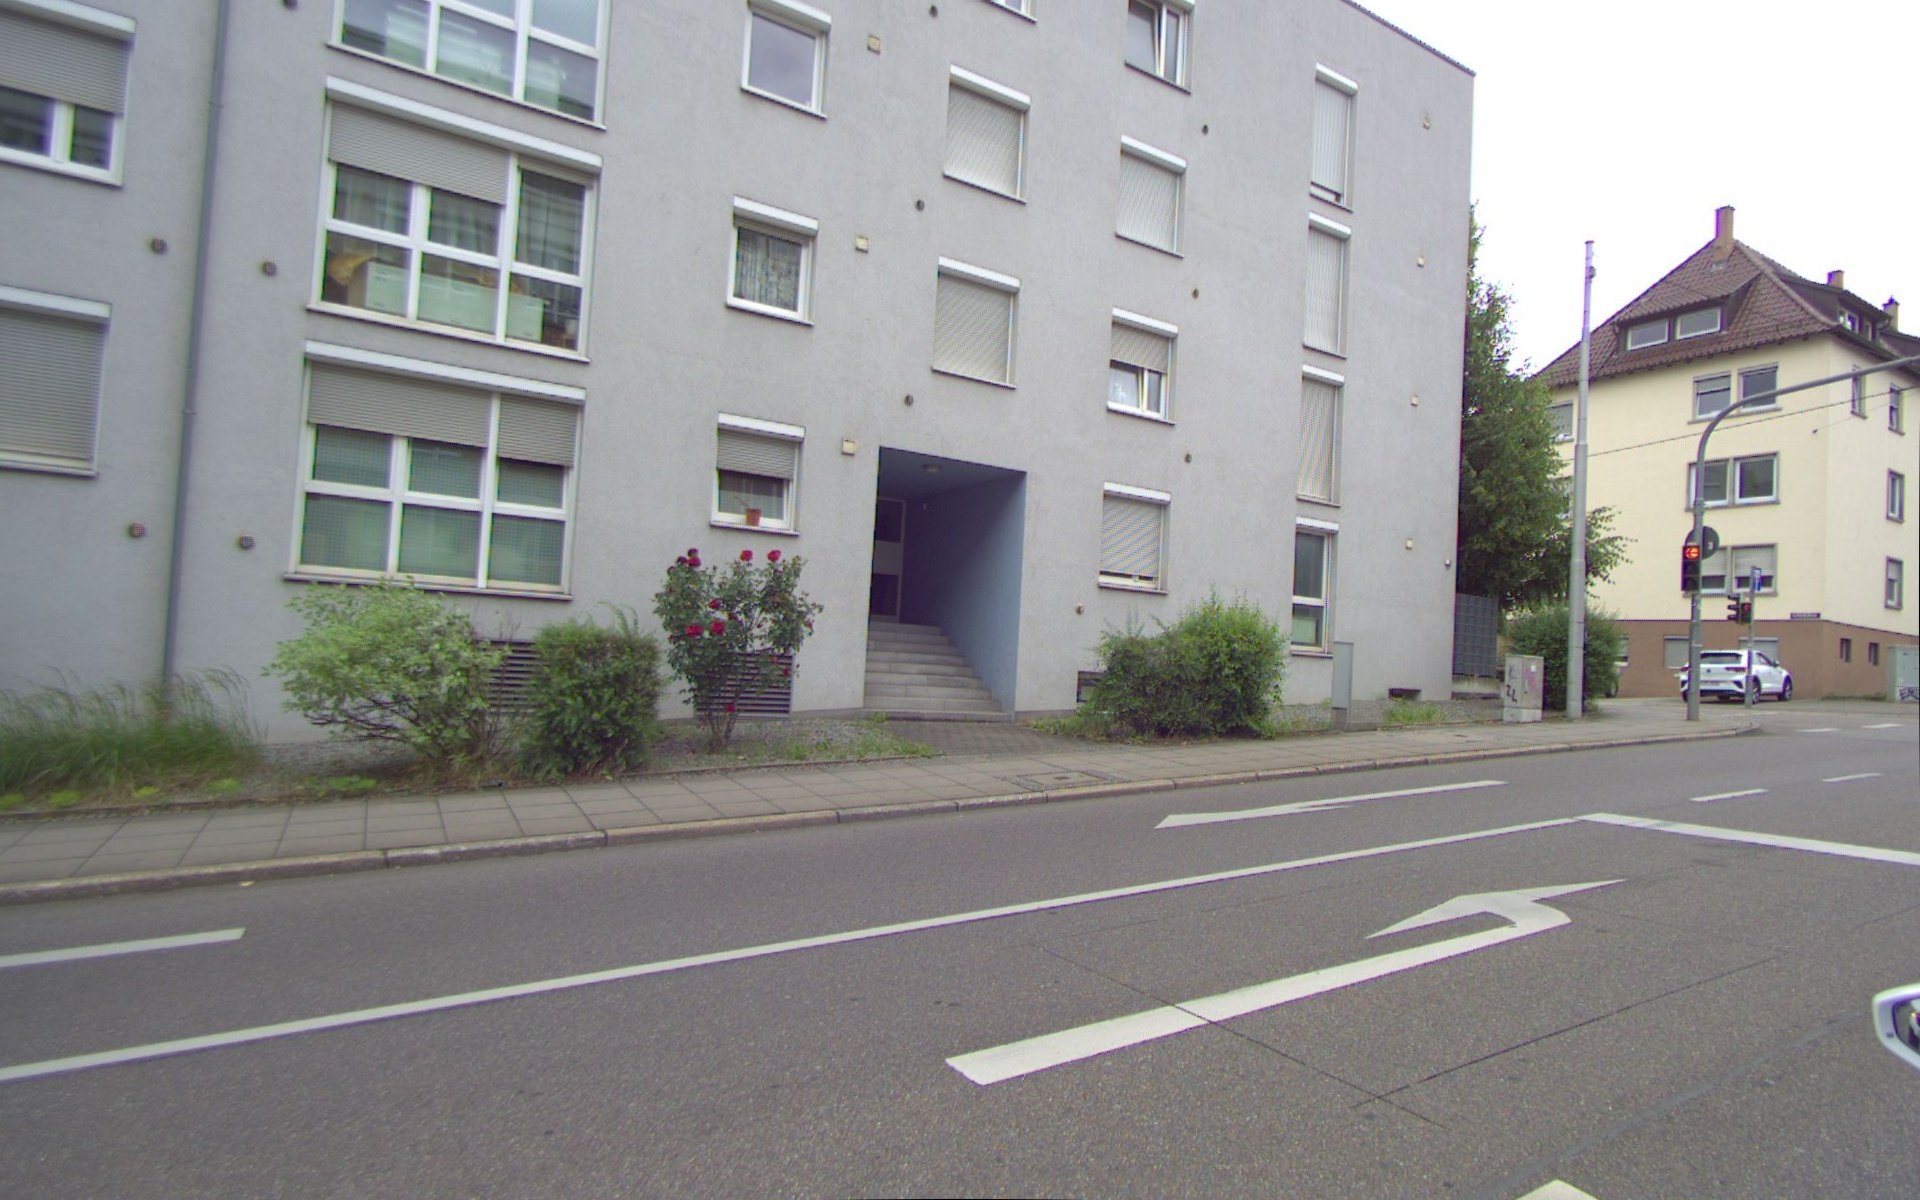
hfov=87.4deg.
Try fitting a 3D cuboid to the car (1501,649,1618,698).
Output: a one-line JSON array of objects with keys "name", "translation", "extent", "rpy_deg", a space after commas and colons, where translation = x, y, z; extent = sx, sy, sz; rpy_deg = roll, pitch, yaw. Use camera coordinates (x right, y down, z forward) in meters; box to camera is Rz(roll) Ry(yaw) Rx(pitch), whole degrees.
[{"name": "car", "translation": [20.583, 2.503, 34.459], "extent": [4.053, 1.566, 1.662], "rpy_deg": [2, -4, -30]}]

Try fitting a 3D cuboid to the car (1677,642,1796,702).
[{"name": "car", "translation": [23.243, 2.117, 30.024], "extent": [3.960, 1.683, 1.660], "rpy_deg": [2, -4, -35]}]

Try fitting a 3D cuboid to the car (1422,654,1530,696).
[{"name": "car", "translation": [18.970, 2.724, 36.882], "extent": [3.953, 1.380, 1.662], "rpy_deg": [2, -1, -30]}]
